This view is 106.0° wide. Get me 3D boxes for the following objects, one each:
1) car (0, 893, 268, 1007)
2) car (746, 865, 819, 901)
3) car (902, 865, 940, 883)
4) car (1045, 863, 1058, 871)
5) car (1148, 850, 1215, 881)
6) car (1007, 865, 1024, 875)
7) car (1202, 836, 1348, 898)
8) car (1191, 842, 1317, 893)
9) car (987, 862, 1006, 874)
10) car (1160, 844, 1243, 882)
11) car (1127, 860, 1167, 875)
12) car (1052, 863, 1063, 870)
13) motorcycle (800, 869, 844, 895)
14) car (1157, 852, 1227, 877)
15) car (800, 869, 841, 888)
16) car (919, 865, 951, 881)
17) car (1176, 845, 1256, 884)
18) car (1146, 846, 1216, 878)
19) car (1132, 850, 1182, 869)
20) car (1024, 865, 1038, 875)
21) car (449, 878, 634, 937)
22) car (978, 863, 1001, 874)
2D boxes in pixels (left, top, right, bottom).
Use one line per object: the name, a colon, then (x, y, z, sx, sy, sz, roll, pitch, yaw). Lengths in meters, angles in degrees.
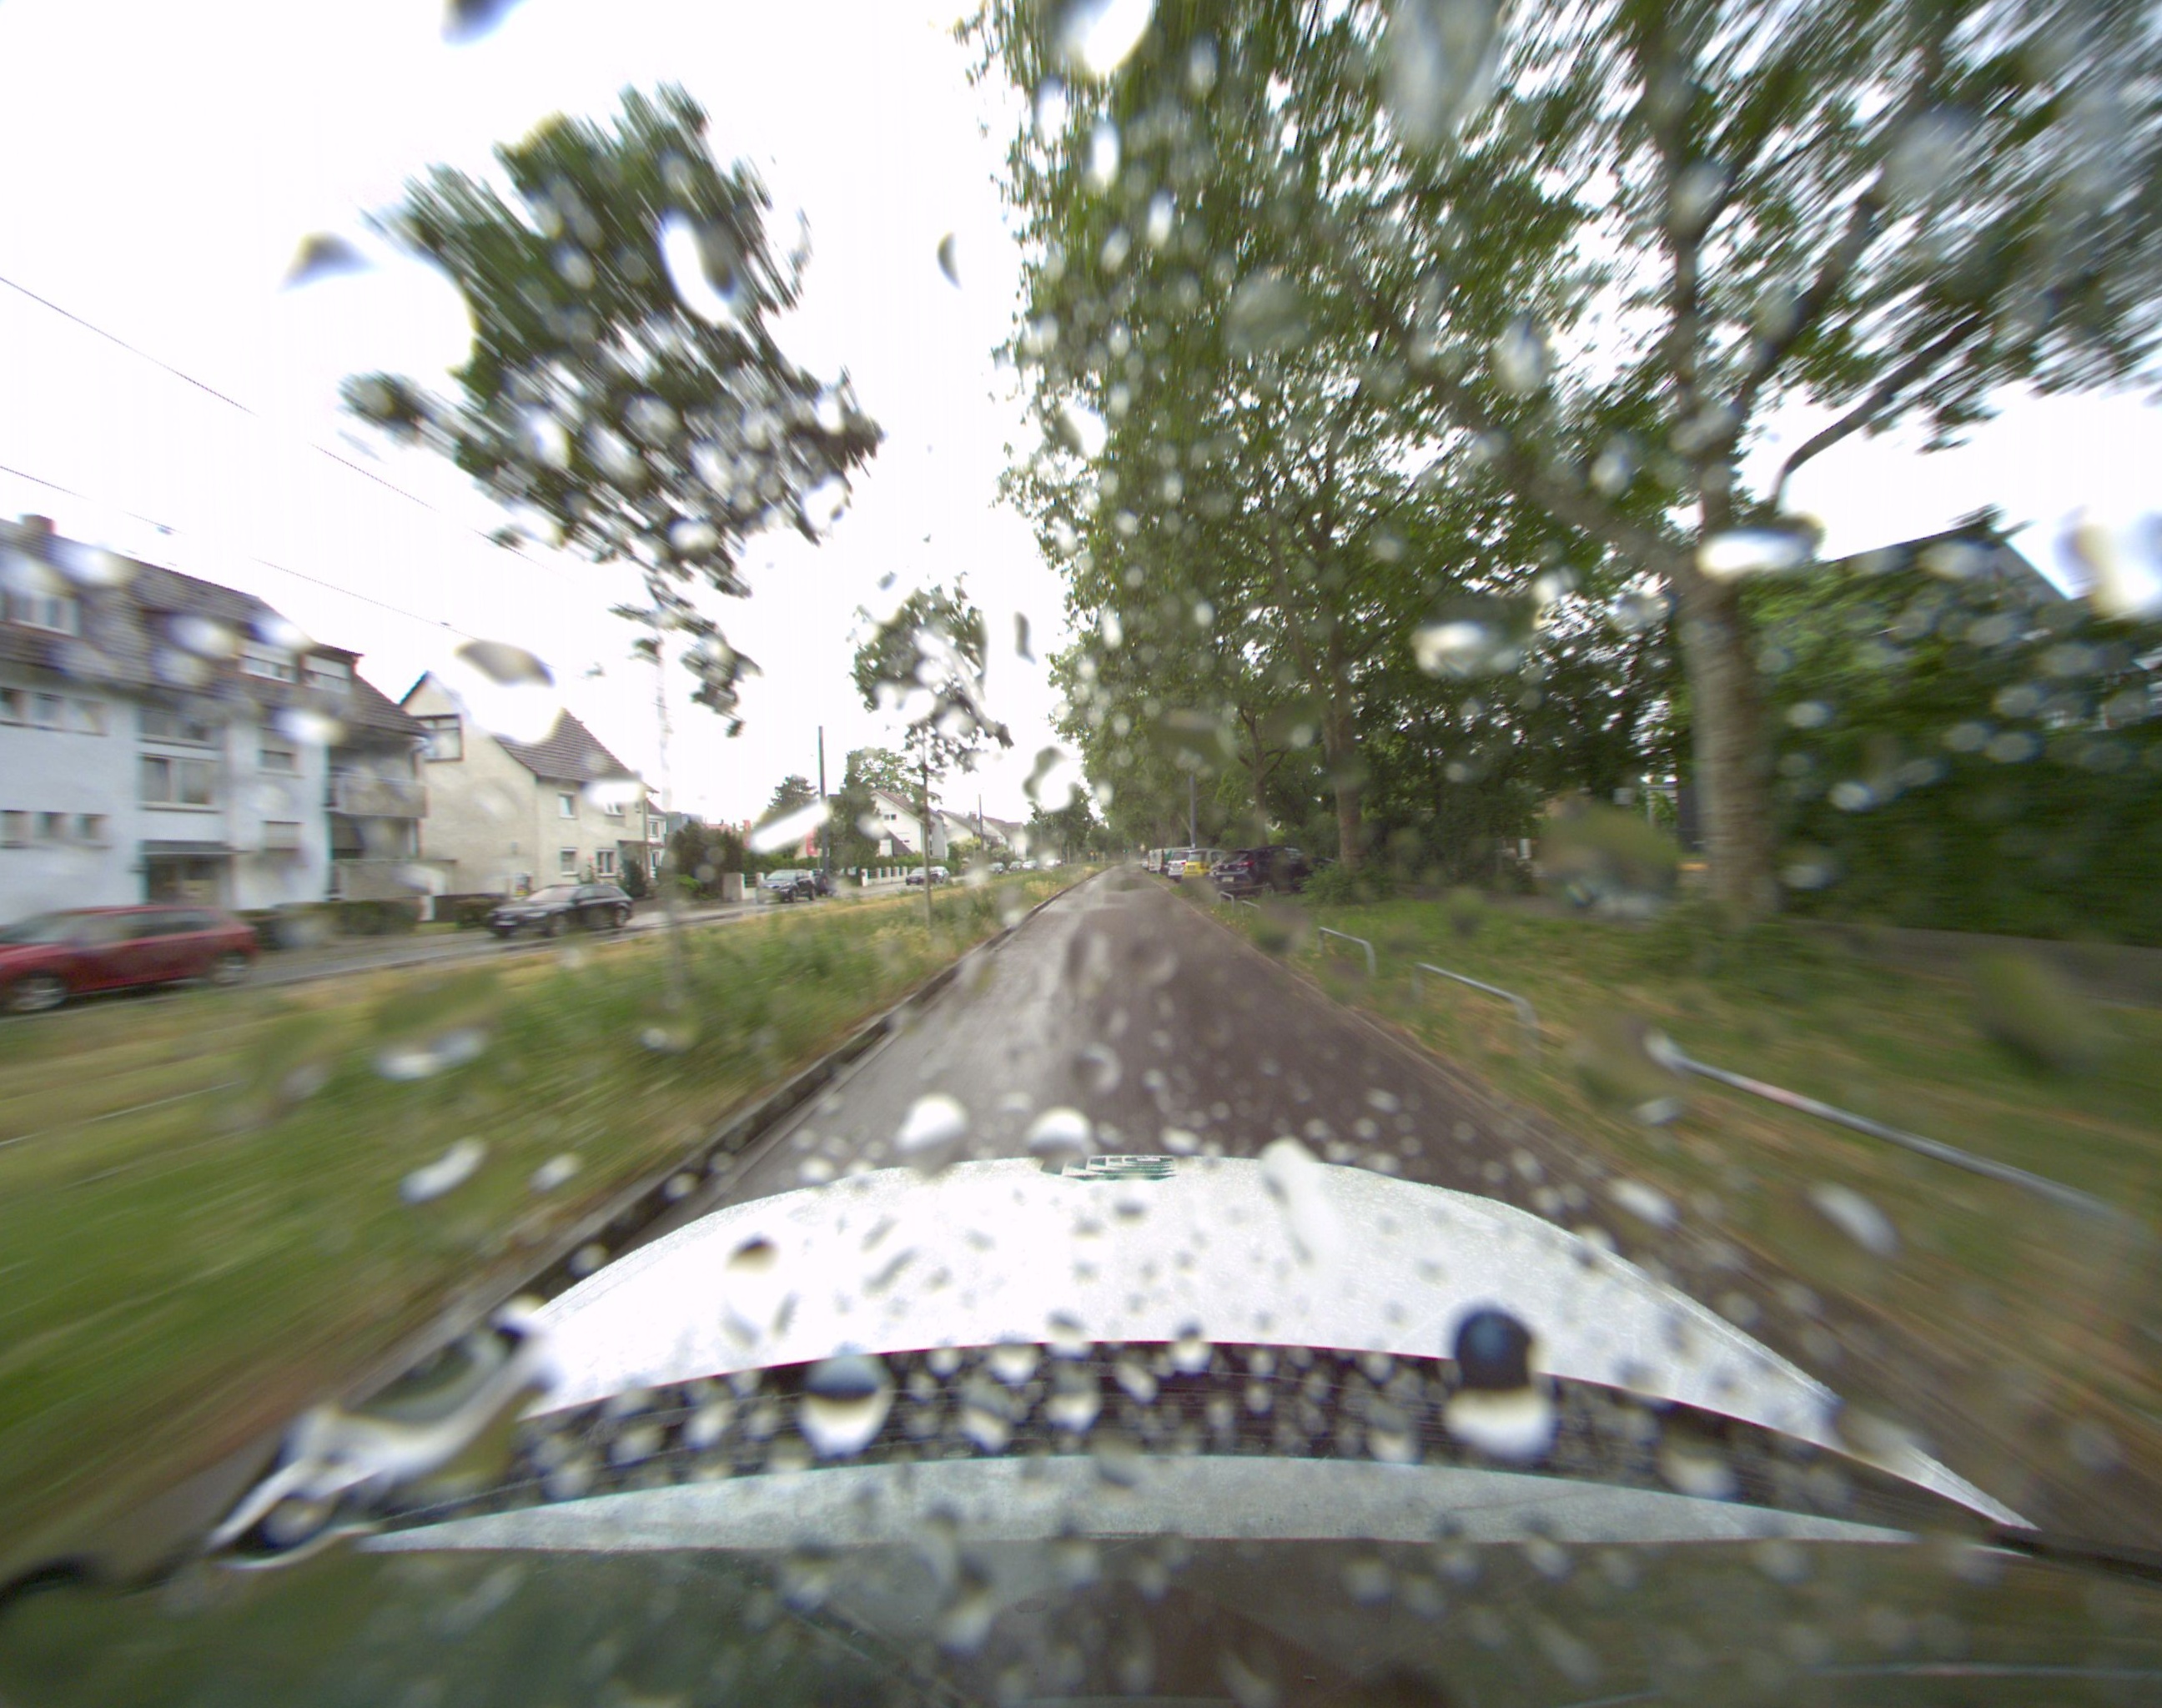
car: (-16.047, 1.440, 13.078, 1.789, 1.457, 4.005, 0, 0, 4)
car: (-14.927, 1.396, 40.997, 1.986, 1.674, 4.388, -1, -1, 1)
car: (-13.247, 1.637, 67.675, 1.984, 1.456, 4.537, 0, 0, 4)
car: (-6.032, 2.643, 166.553, 1.984, 1.581, 4.522, 0, 0, 4)
car: (5.827, 0.671, 47.194, 3.419, 1.518, 1.830, -3, -1, -35)
car: (-9.992, 2.416, 124.108, 1.984, 1.516, 4.210, 0, 0, 4)
car: (5.698, 0.351, 23.896, 3.814, 1.532, 1.866, -3, 0, -28)
car: (5.863, 0.449, 27.407, 4.079, 1.418, 1.724, -3, -1, -34)
car: (-11.047, 1.787, 106.991, 1.866, 1.550, 3.873, 0, 0, 3)
car: (6.153, 0.448, 41.316, 4.066, 1.641, 1.636, -3, -2, -36)
car: (8.534, 1.721, 105.078, 4.794, 1.668, 1.974, -2, -1, -34)
car: (-5.133, 2.722, 180.361, 1.984, 1.488, 4.210, 0, 0, 4)
motorcycle: (-14.779, 1.583, 46.429, 2.654, 1.411, 1.274, -2, -2, 45)
car: (6.953, 0.656, 50.730, 4.326, 1.384, 1.721, -1, -1, -37)
car: (-21.639, 2.013, 67.713, 1.985, 1.456, 3.921, 0, 0, 3)
car: (-13.089, 1.686, 73.396, 1.985, 1.411, 3.974, 0, 0, 3)
car: (5.813, 0.459, 35.088, 2.911, 1.466, 1.590, -3, -1, -27)
car: (7.489, 0.582, 60.767, 5.048, 2.013, 1.980, -3, 0, -32)
car: (7.542, 0.532, 80.479, 4.574, 1.544, 1.870, -5, 1, -29)
car: (-8.339, 2.644, 135.888, 1.788, 1.488, 3.601, 0, 0, 4)
car: (-15.535, 1.485, 23.860, 1.984, 1.411, 4.767, 0, 0, 5)
car: (-11.422, 1.796, 101.935, 1.984, 1.350, 4.245, 0, 0, 4)
